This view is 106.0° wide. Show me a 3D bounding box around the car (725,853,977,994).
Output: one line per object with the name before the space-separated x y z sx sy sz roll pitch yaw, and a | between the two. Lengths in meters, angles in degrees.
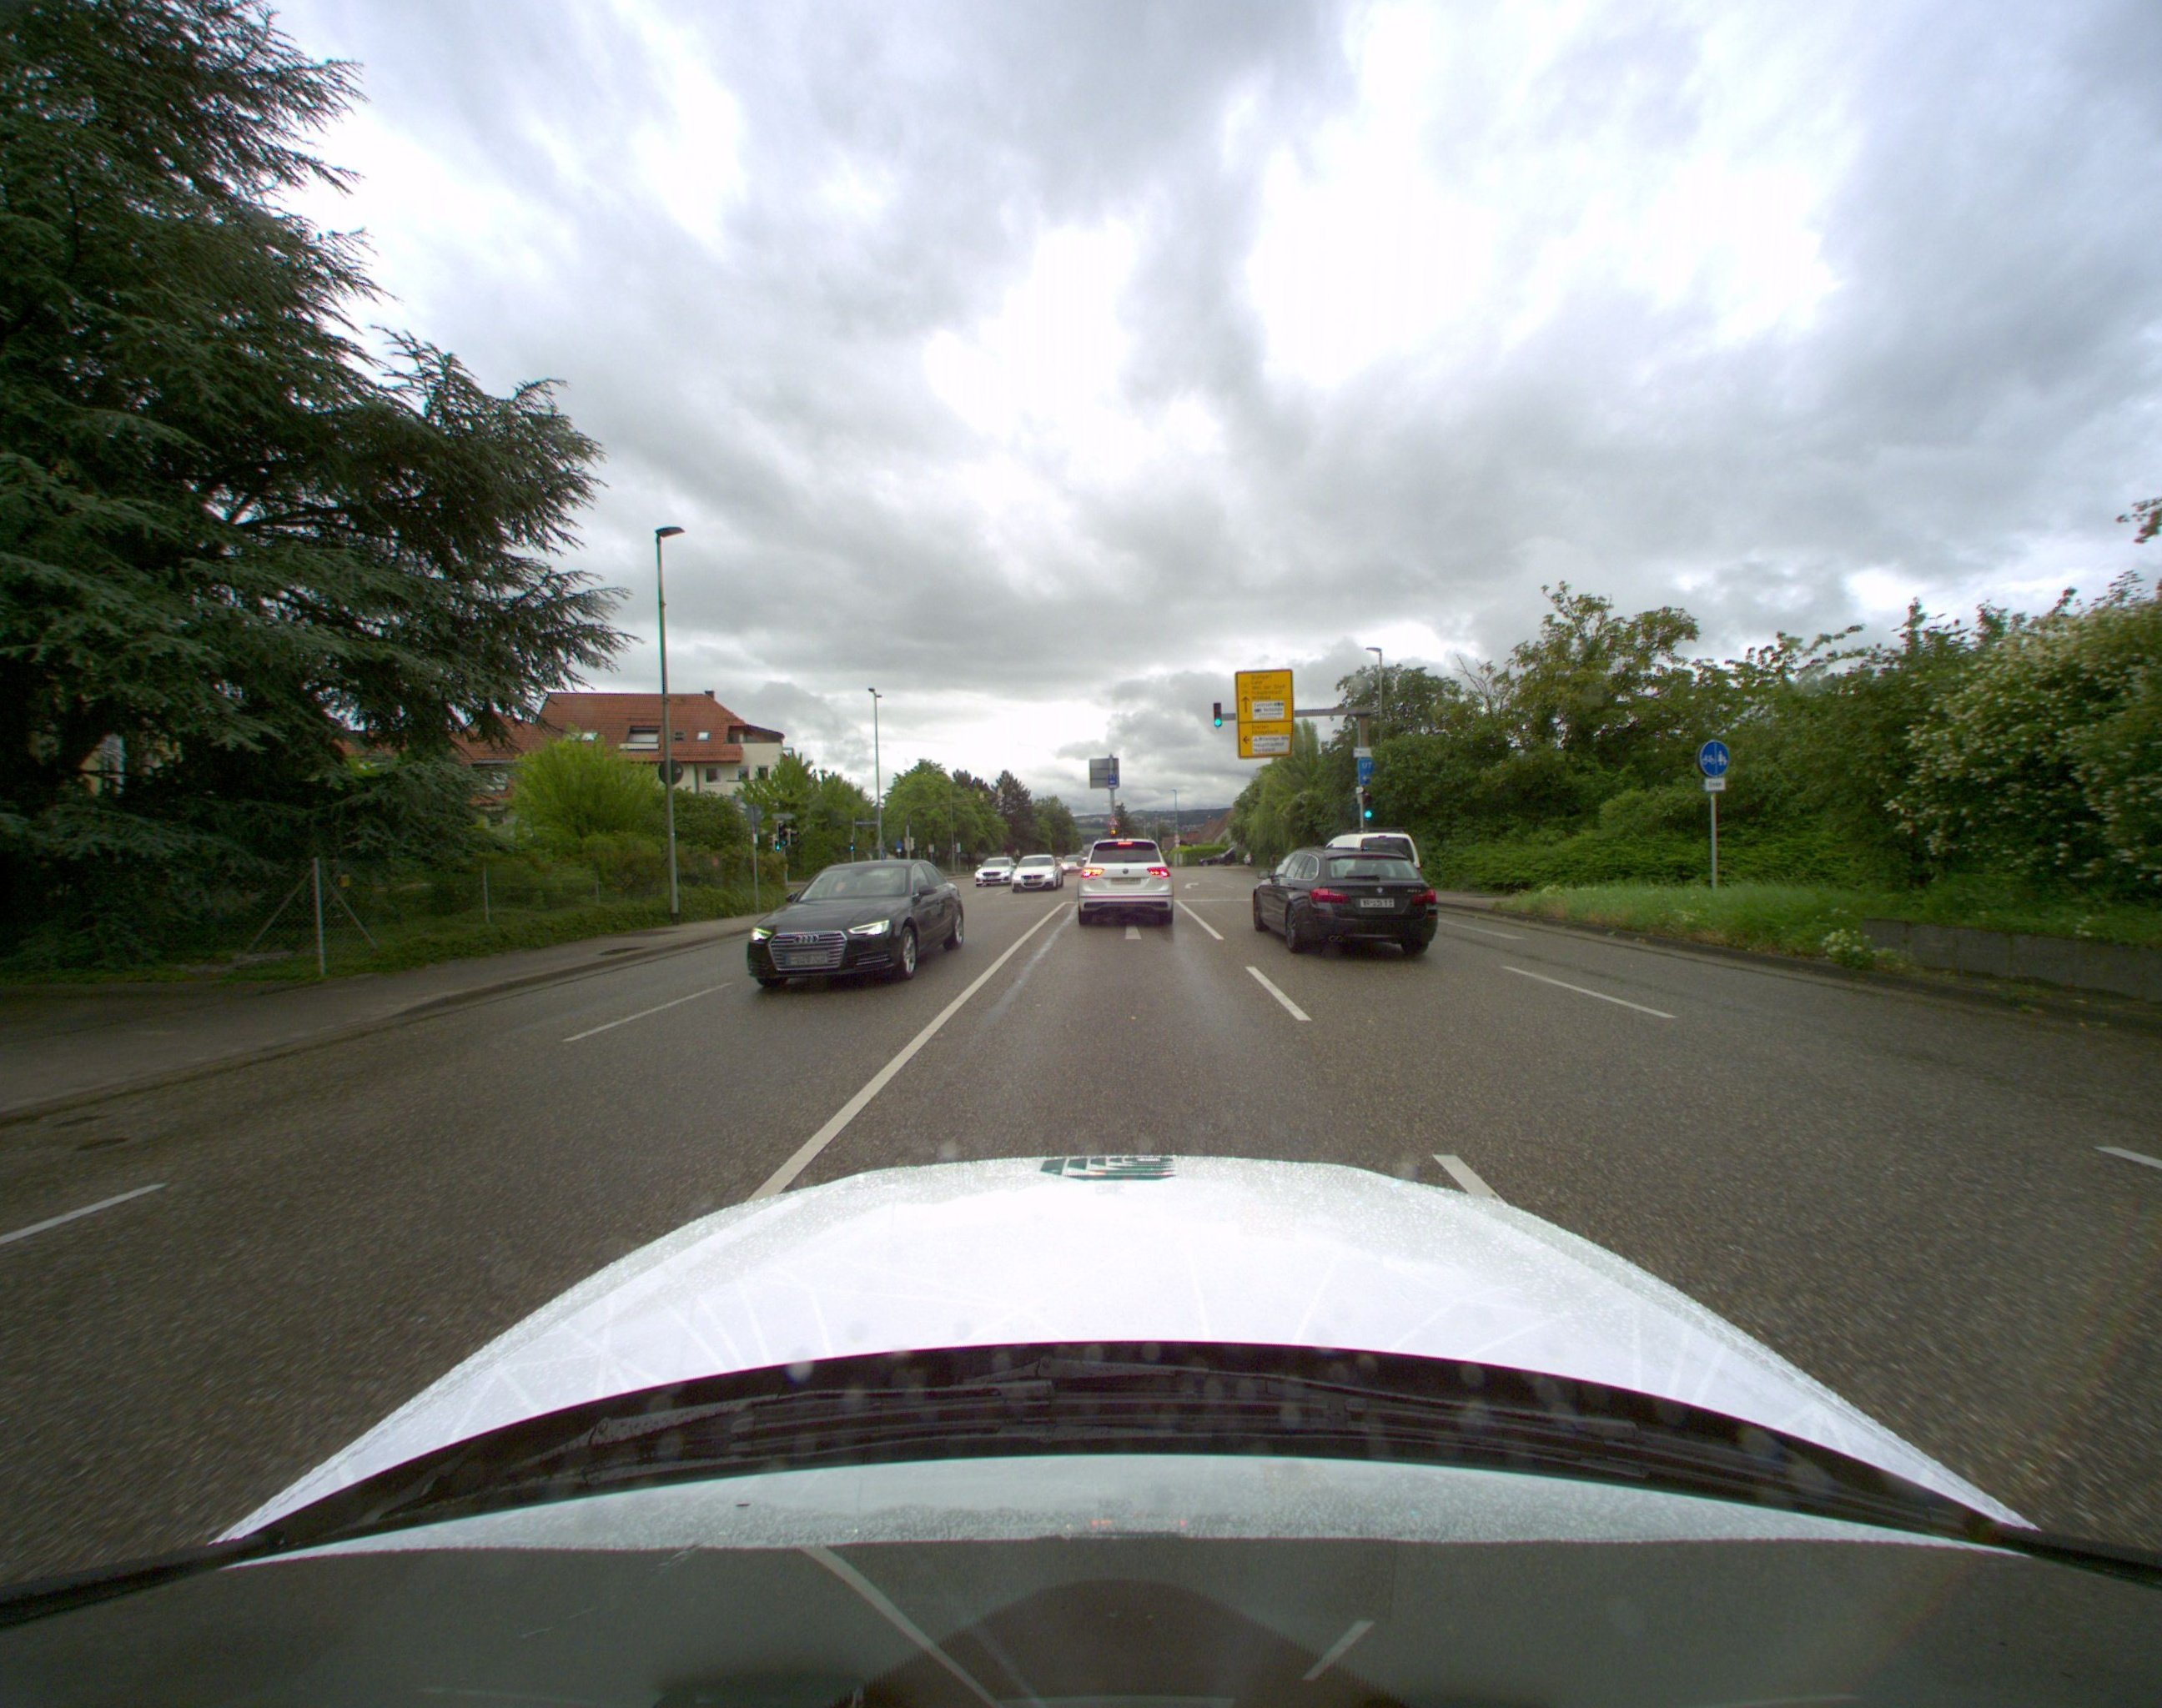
car | -2.773 0.758 10.965 1.885 1.404 4.268 -3 0 3

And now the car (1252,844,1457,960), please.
car | 3.853 0.585 12.222 1.891 1.441 4.003 0 1 2

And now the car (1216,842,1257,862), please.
car | 15.720 -0.206 82.474 3.967 1.956 1.588 -1 0 6

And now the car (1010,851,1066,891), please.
car | -1.694 0.650 33.471 1.741 1.385 4.415 -4 0 3

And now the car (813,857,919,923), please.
car | -5.577 0.878 21.580 1.626 1.456 3.704 -4 0 2

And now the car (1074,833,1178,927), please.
car | 0.907 0.458 16.719 1.861 1.673 4.003 -1 0 2

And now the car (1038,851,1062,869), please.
car | -2.758 0.524 73.363 1.767 1.458 4.553 -3 0 3

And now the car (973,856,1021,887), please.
car | -4.323 0.861 42.459 1.768 1.385 4.552 -3 0 2

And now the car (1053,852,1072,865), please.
car | -1.938 0.451 85.386 1.643 1.273 3.625 -2 0 5

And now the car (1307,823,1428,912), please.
car | 6.826 0.224 19.816 1.757 1.877 3.809 -1 3 2

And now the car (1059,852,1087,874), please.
car | -0.570 0.671 60.668 1.767 1.458 4.553 -3 0 3

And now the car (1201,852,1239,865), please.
car | 14.911 0.469 87.320 3.967 1.376 1.588 -1 0 6
